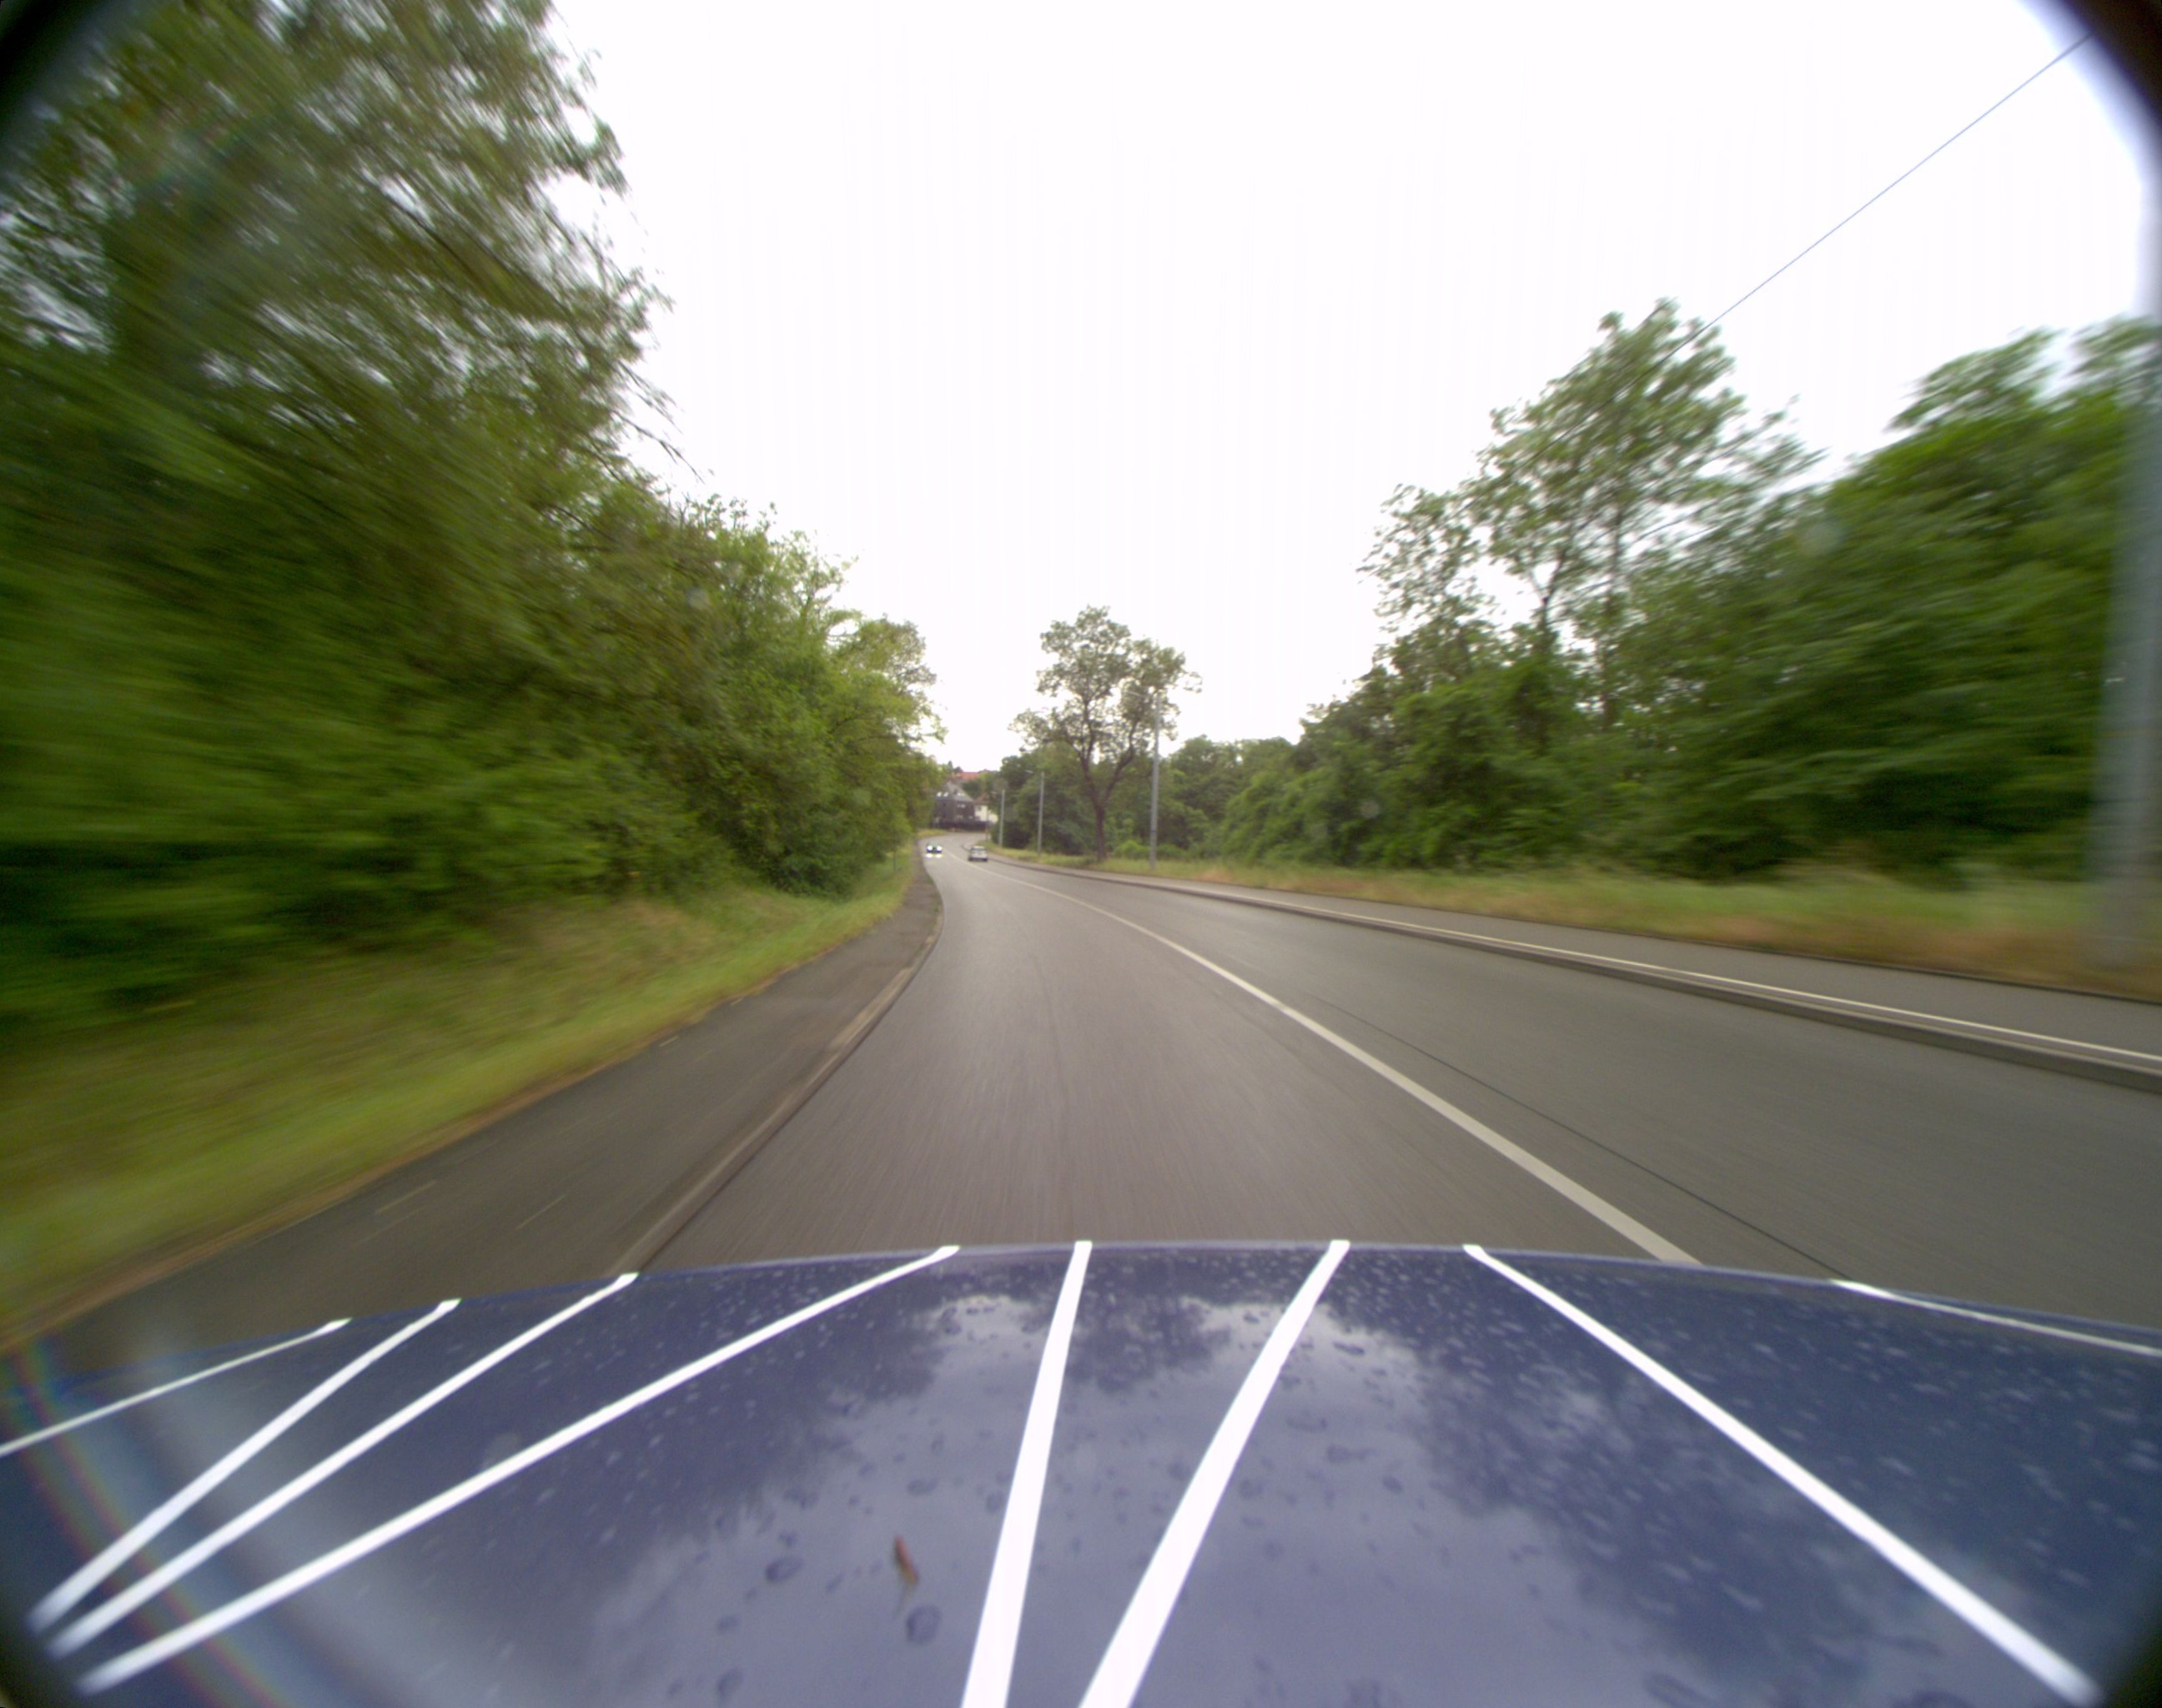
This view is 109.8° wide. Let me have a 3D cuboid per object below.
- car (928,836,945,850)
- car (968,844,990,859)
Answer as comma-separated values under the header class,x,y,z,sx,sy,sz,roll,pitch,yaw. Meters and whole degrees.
class,x,y,z,sx,sy,sz,roll,pitch,yaw
car,-18.666,-1.453,98.434,2.000,1.707,3.995,1,1,-9
car,-10.371,-0.255,77.061,1.787,1.422,4.469,1,0,-14
